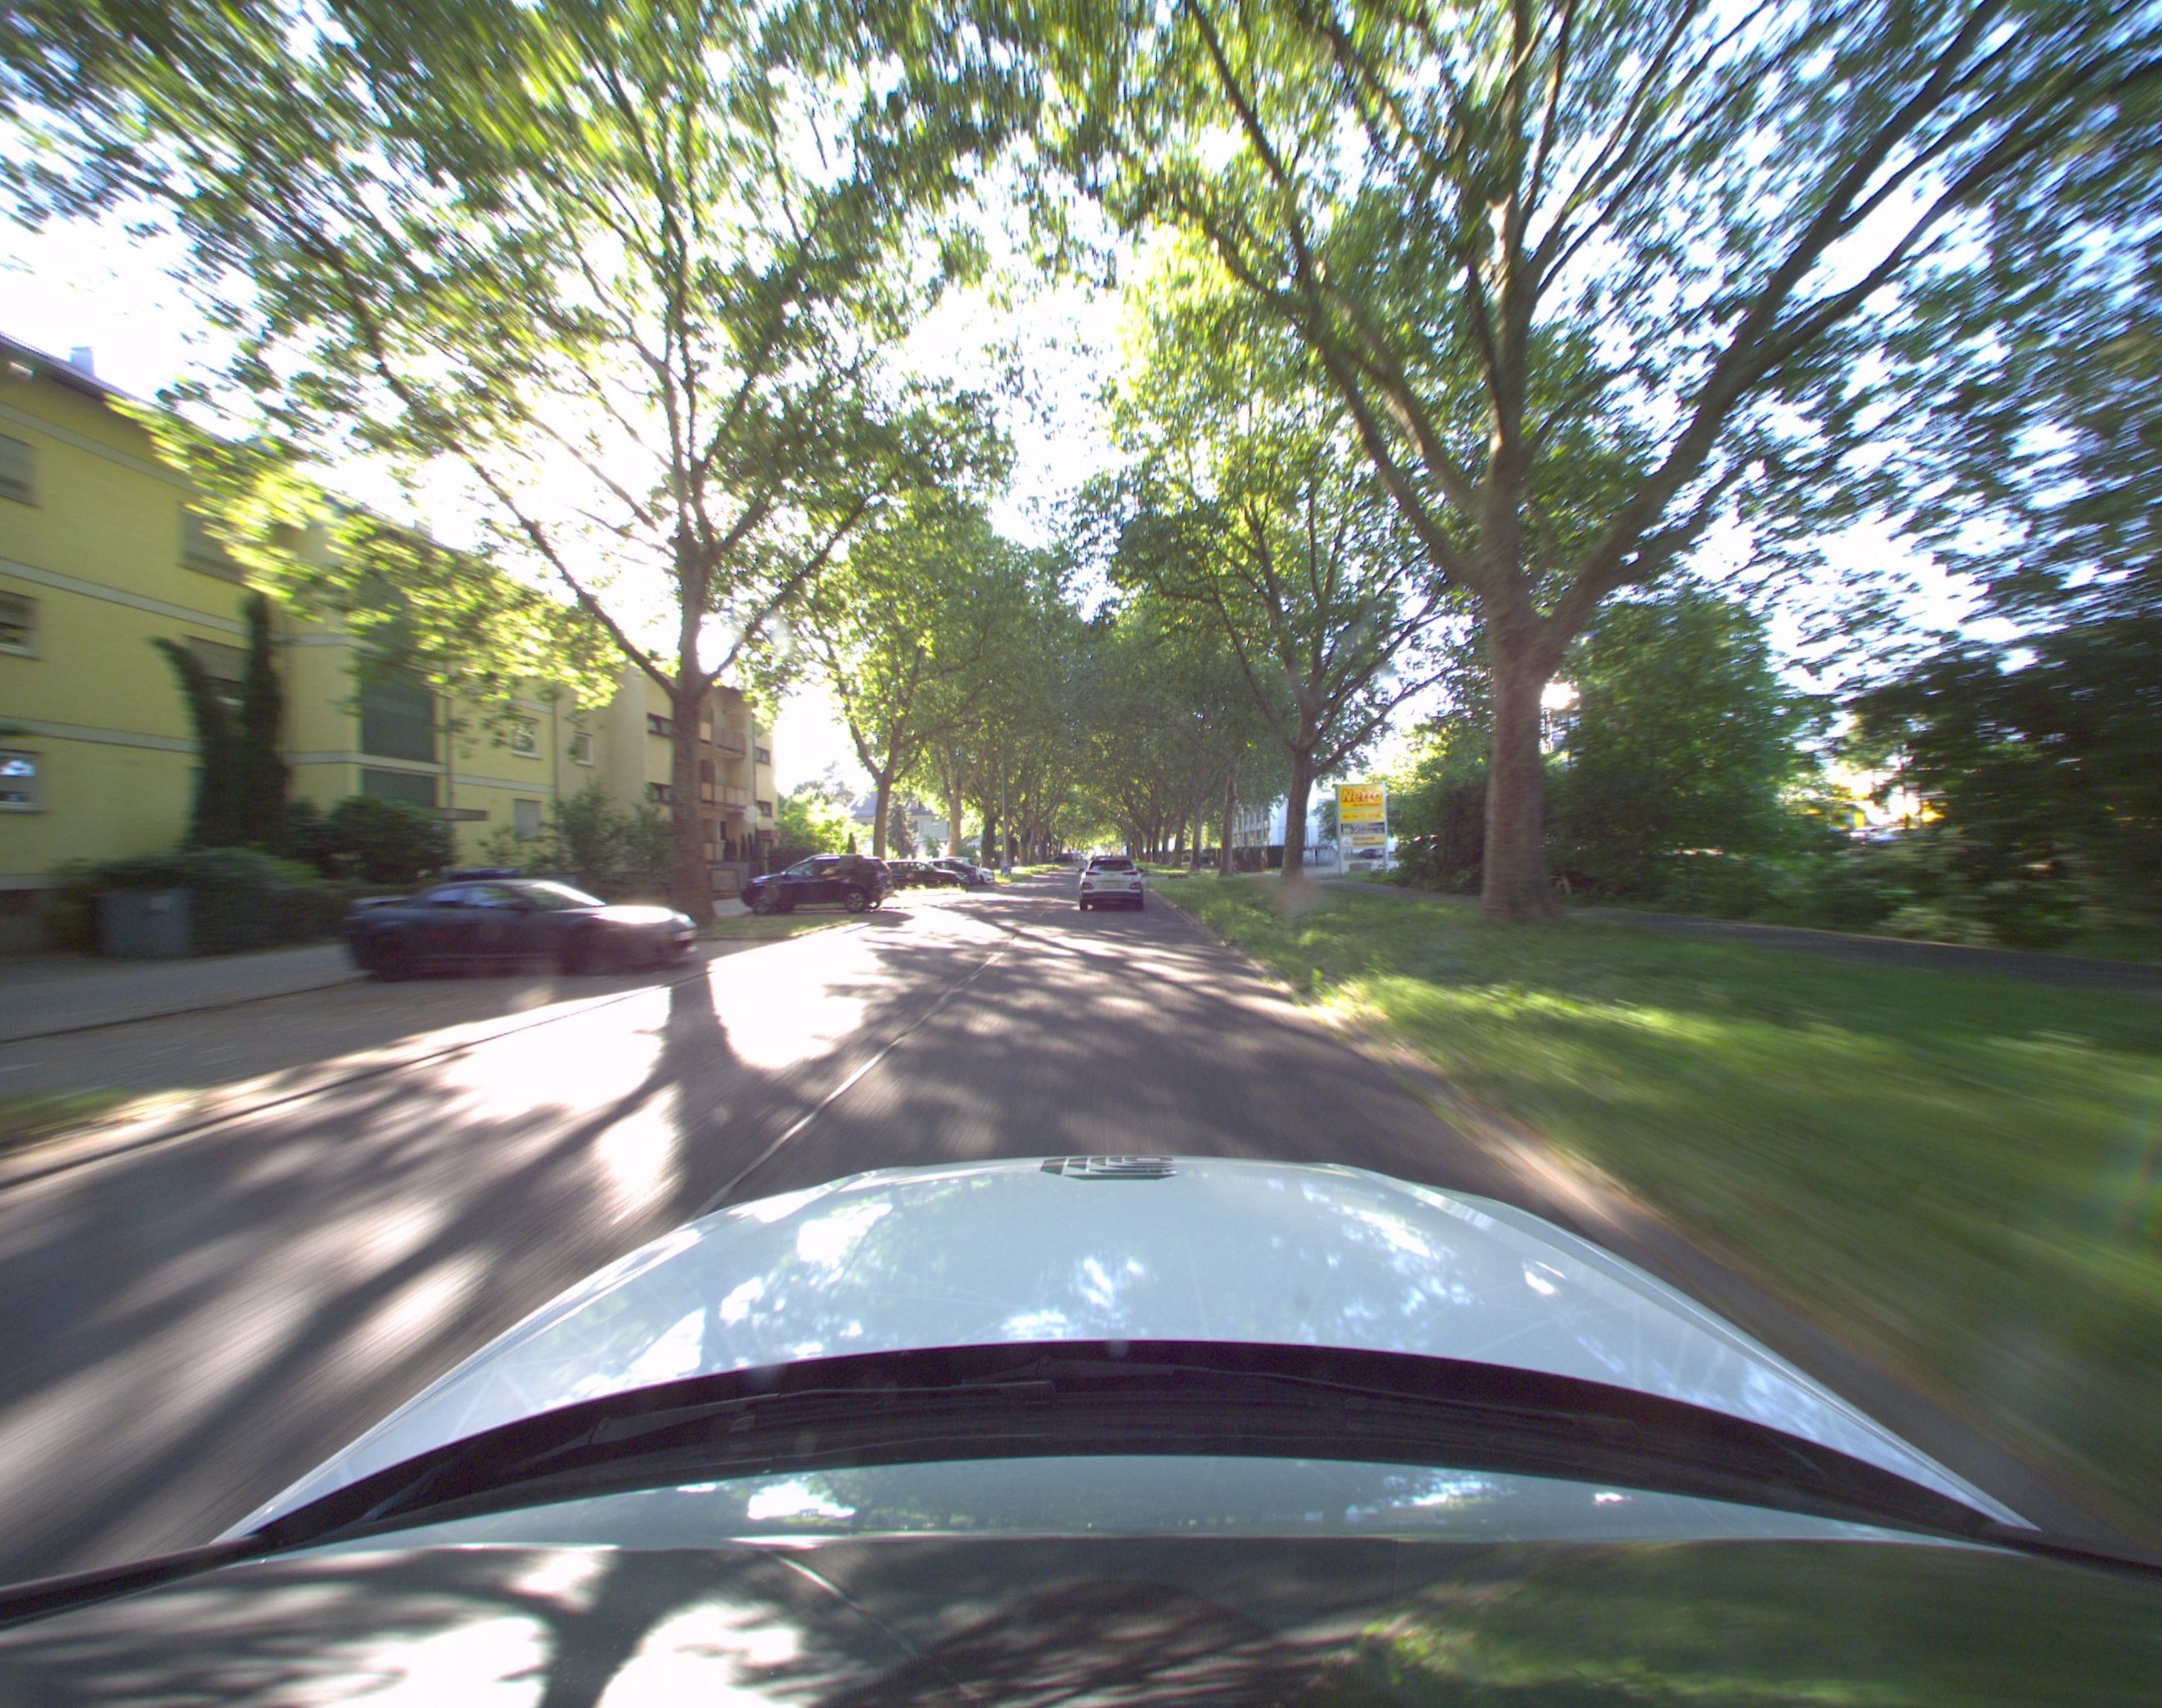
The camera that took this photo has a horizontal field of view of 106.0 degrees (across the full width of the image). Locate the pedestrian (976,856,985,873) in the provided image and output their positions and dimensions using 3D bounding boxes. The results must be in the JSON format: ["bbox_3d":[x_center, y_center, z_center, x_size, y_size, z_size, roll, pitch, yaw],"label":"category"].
[{"bbox_3d":[-10.100,1.046,81.659,0.746,1.707,0.793,0,0,1],"label":"pedestrian"}]

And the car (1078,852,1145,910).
[{"bbox_3d":[0.889,0.762,24.446,1.829,1.555,4.001,-1,0,1],"label":"car"}]

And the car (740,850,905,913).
[{"bbox_3d":[-7.510,0.770,23.888,4.229,1.680,1.671,-2,0,1],"label":"car"}]

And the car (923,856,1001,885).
[{"bbox_3d":[-6.532,0.875,44.989,3.971,1.470,1.810,-1,0,2],"label":"car"}]

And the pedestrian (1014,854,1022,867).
[{"bbox_3d":[-8.025,0.845,104.234,0.752,1.707,0.787,0,-1,-23],"label":"pedestrian"}]

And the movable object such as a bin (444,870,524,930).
[{"bbox_3d":[-14.386,1.095,19.664,1.181,1.350,0.954,-2,-1,1],"label":"movable object such as a bin"}]

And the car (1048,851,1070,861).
[{"bbox_3d":[-4.169,0.427,151.659,3.978,1.772,1.998,-1,-1,-4],"label":"car"}]

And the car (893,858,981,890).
[{"bbox_3d":[-6.939,0.937,39.651,3.978,1.424,1.807,-1,0,-3],"label":"car"}]

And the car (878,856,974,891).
[{"bbox_3d":[-7.034,0.882,37.192,3.974,1.470,1.780,-1,0,0],"label":"car"}]

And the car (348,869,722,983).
[{"bbox_3d":[-7.790,0.997,11.937,4.227,1.353,1.741,-2,0,-1],"label":"car"}]

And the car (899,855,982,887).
[{"bbox_3d":[-7.242,0.867,42.272,3.974,1.520,1.809,-1,0,0],"label":"car"}]
